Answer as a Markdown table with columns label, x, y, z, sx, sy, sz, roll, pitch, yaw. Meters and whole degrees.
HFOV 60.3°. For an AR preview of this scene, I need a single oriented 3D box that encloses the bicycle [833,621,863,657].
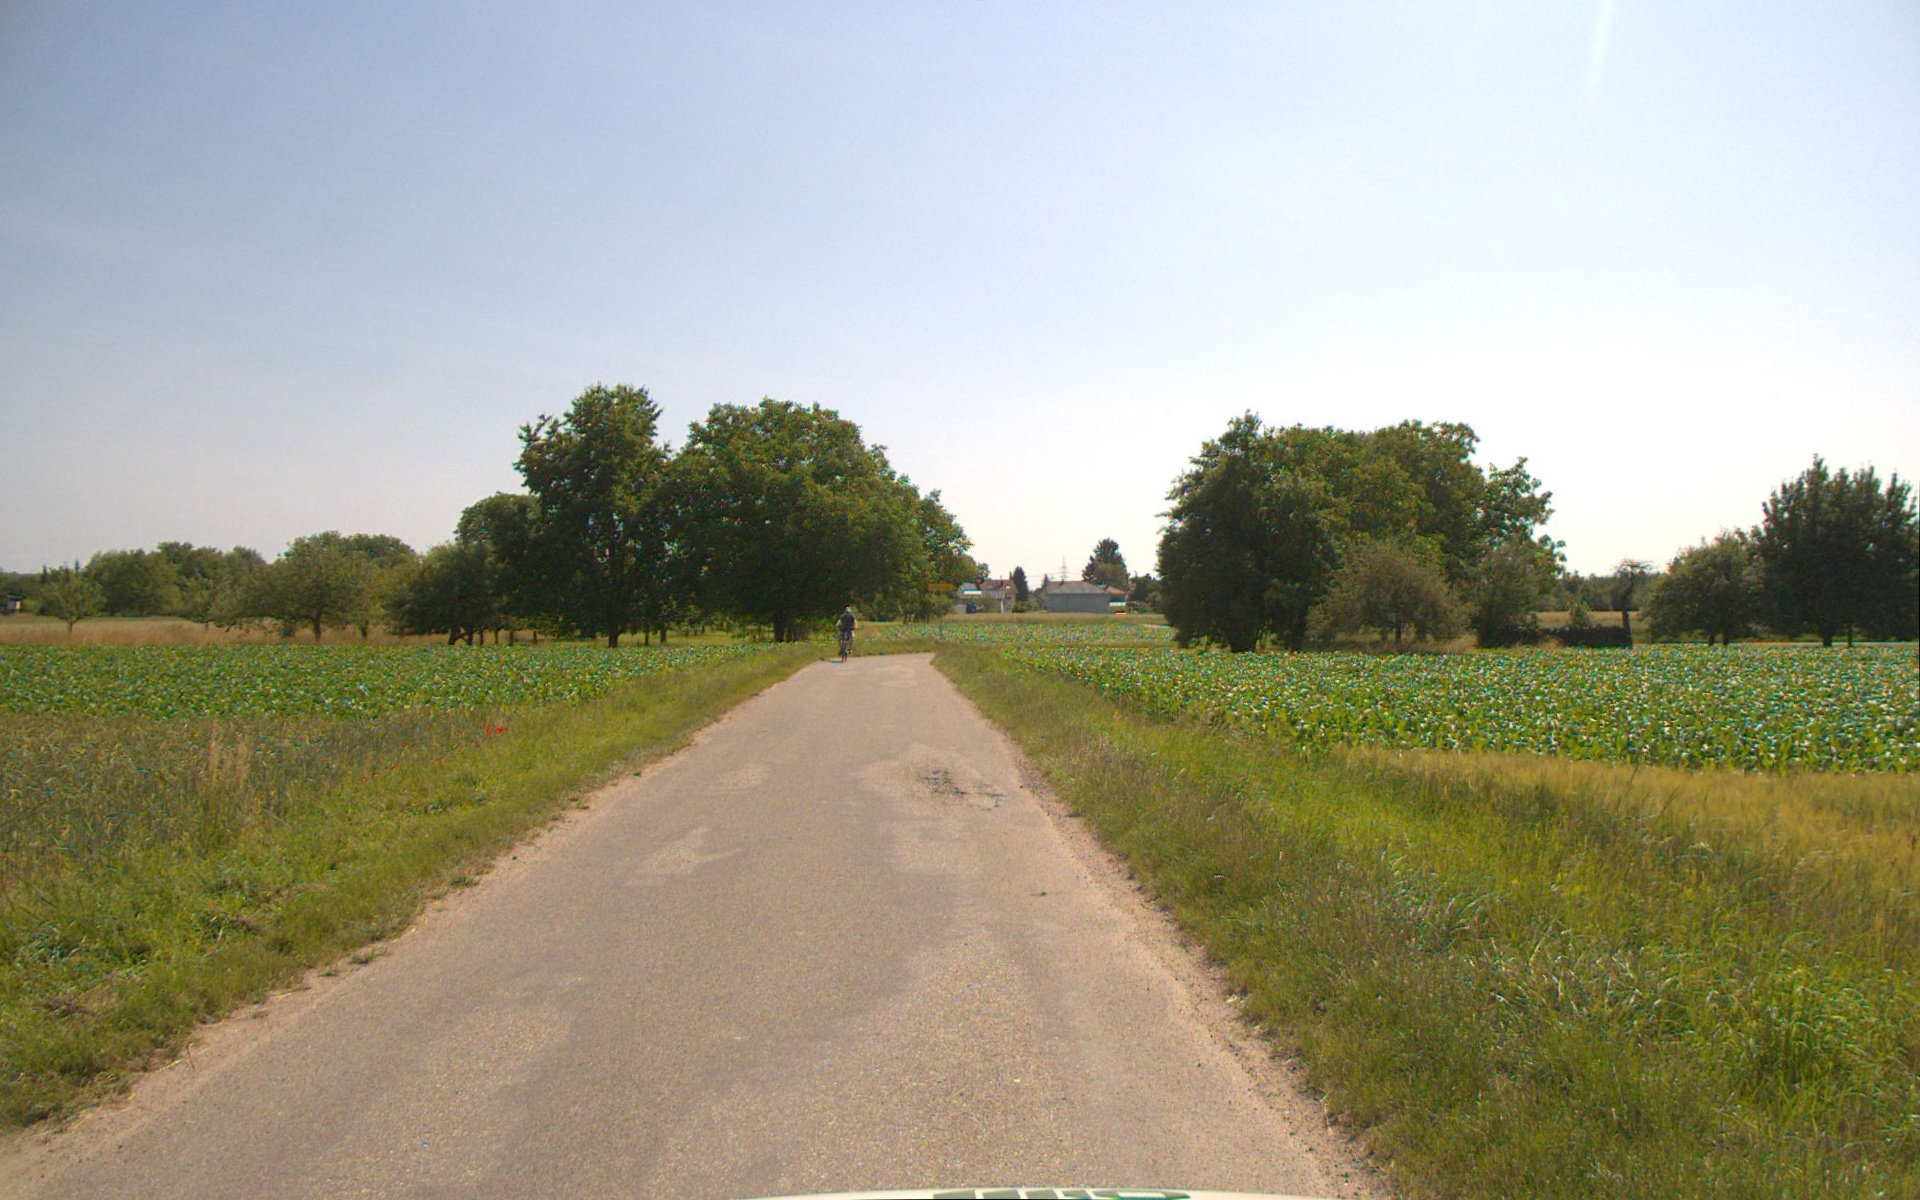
| label | x | y | z | sx | sy | sz | roll | pitch | yaw |
| --- | --- | --- | --- | --- | --- | --- | --- | --- | --- |
| bicycle | -3.752 | 1.310 | 55.733 | 0.735 | 1.147 | 1.909 | -2 | -1 | 3 |

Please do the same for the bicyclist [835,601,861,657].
| label | x | y | z | sx | sy | sz | roll | pitch | yaw |
| --- | --- | --- | --- | --- | --- | --- | --- | --- | --- |
| bicyclist | -3.757 | 0.972 | 55.742 | 0.735 | 1.823 | 0.717 | -2 | -1 | 3 |
